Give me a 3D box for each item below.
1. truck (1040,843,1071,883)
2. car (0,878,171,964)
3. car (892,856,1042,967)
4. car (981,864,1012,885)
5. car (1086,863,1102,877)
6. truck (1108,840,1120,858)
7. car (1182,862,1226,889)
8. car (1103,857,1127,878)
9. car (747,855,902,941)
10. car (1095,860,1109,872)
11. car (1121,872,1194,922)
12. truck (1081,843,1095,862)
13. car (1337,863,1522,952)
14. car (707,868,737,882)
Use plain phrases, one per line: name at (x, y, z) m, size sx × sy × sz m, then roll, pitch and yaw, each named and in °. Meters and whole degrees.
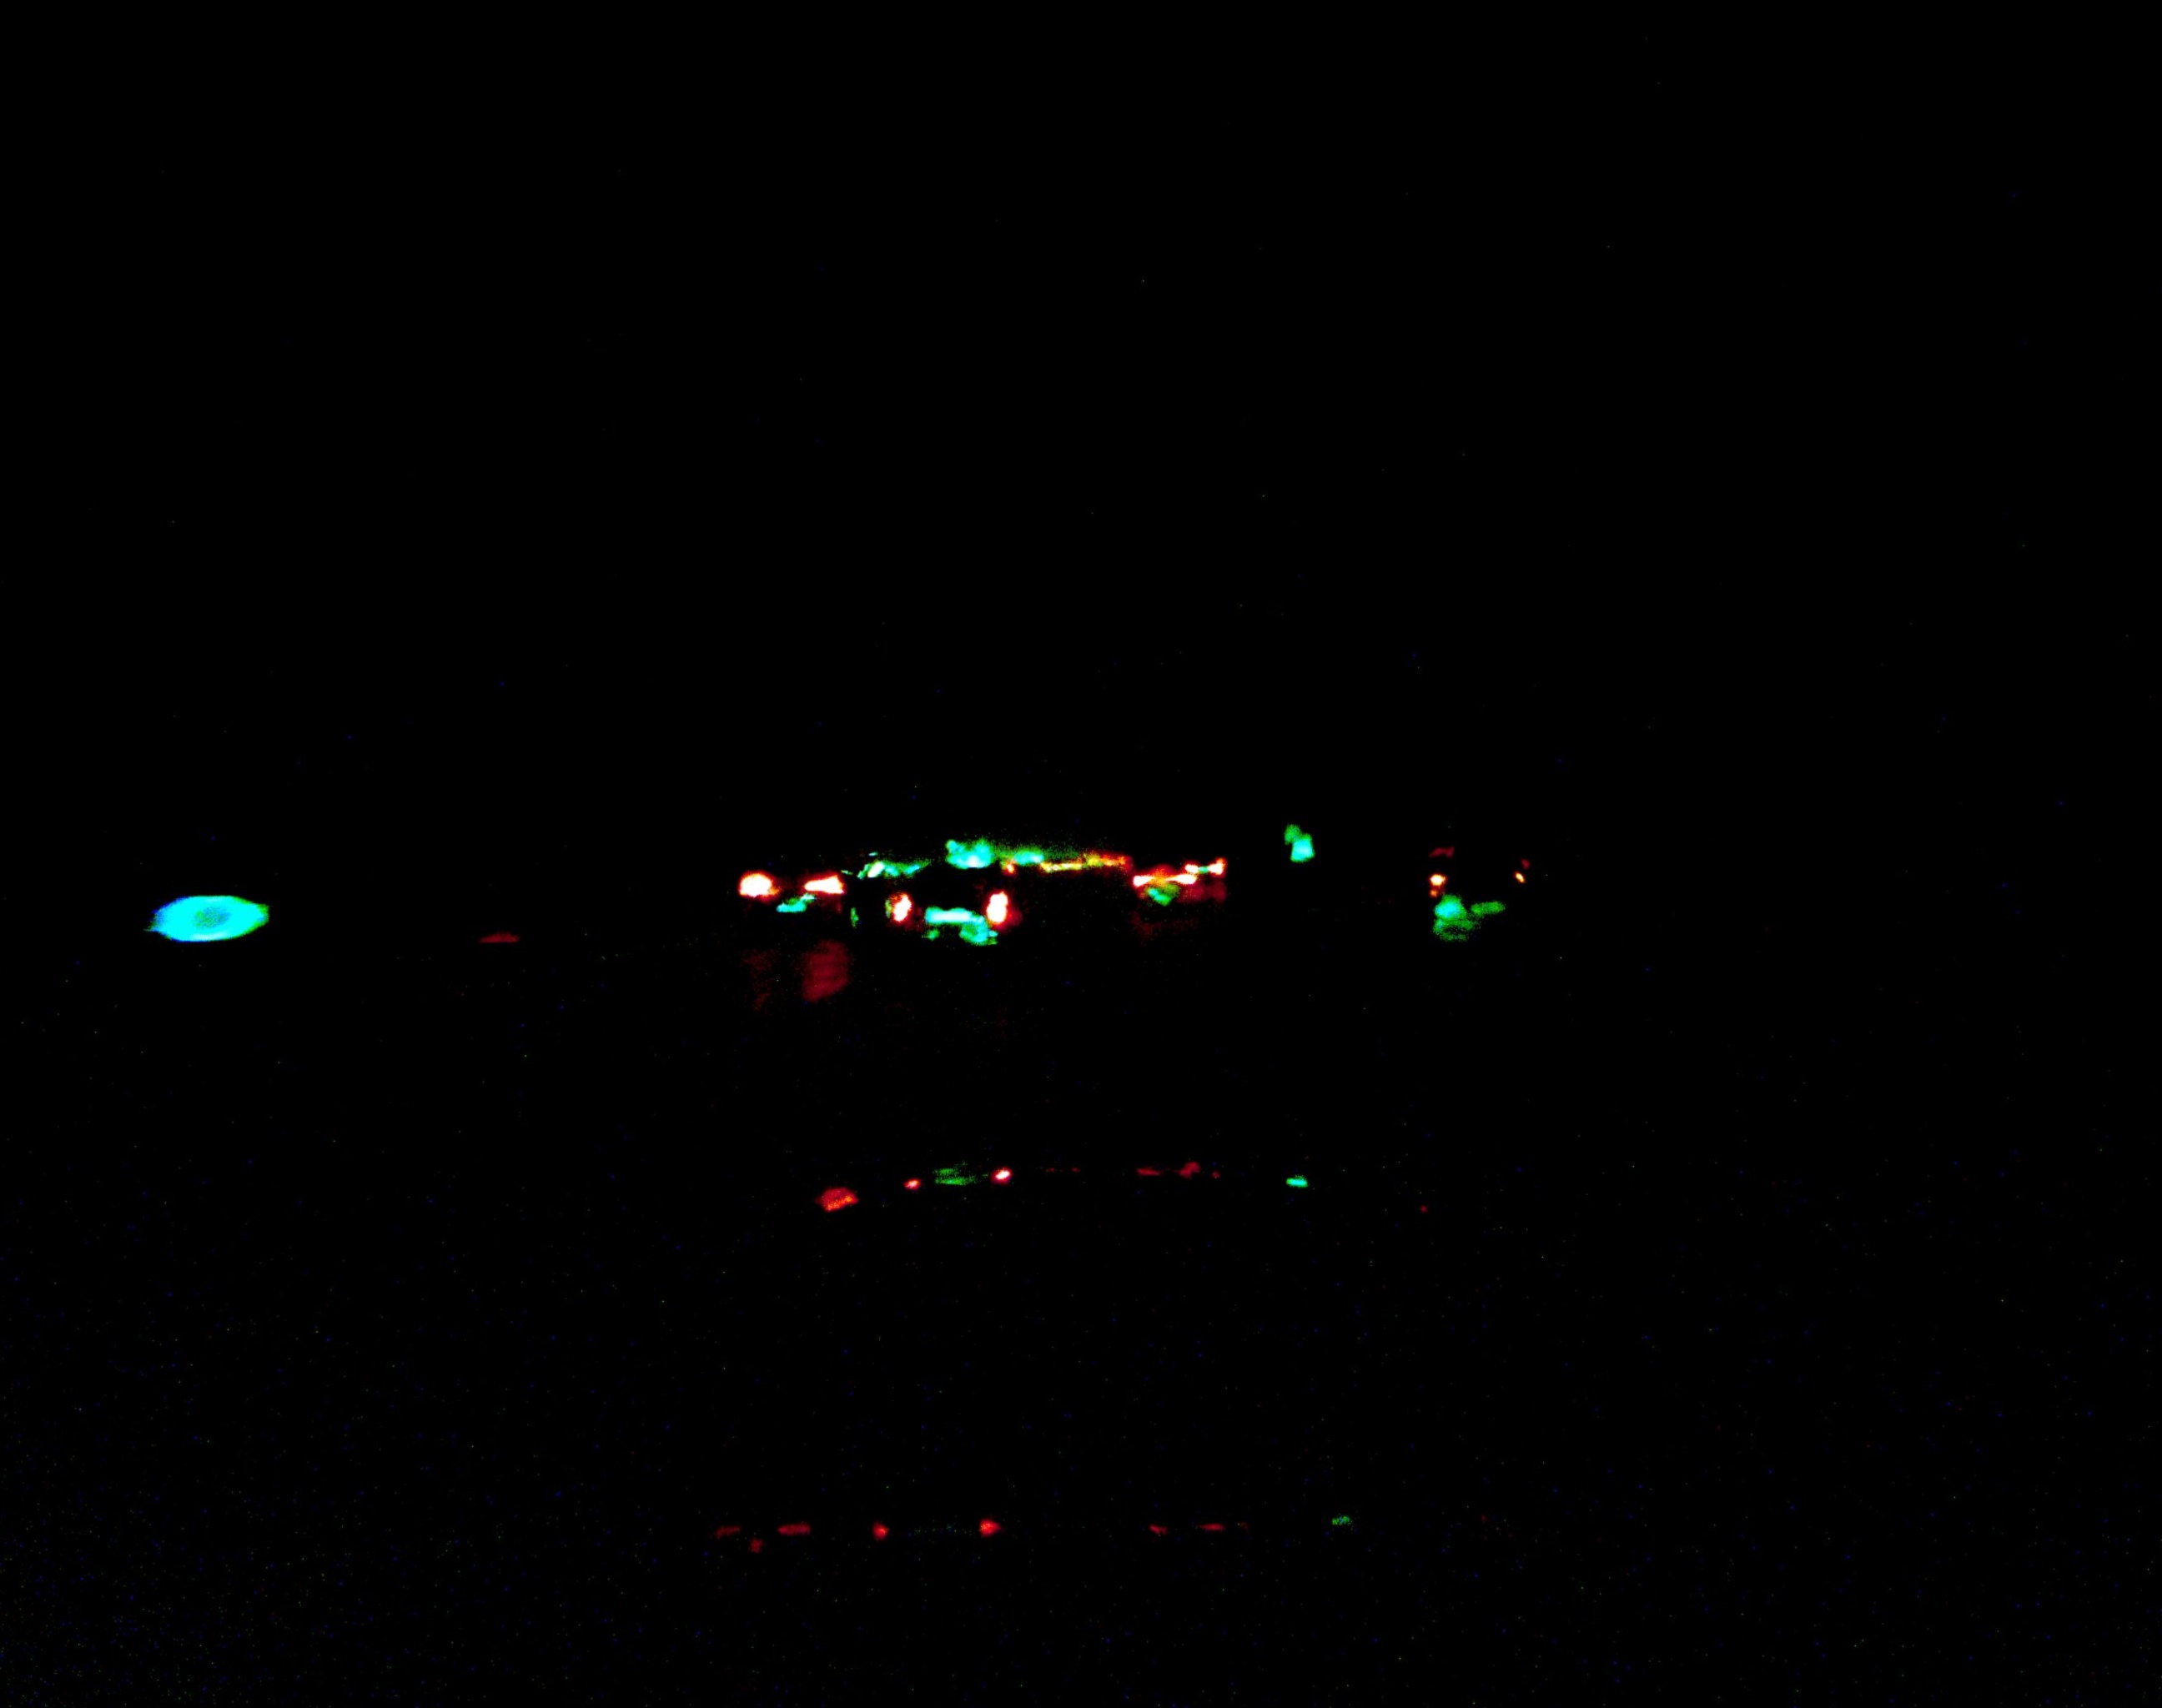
truck at (-2.041, 0.727, 67.853) m, size 1.986 × 3.042 × 6.467 m, roll -4°, pitch -1°, yaw 2°
car at (-22.570, 1.454, 17.281) m, size 1.987 × 1.647 × 3.952 m, roll -4°, pitch -1°, yaw 0°
car at (-1.649, 0.787, 13.075) m, size 1.796 × 1.487 × 4.000 m, roll -1°, pitch 0°, yaw 0°
car at (-5.634, 1.325, 54.718) m, size 1.658 × 1.236 × 3.759 m, roll -4°, pitch -1°, yaw -1°
car at (1.561, 1.863, 96.356) m, size 1.856 × 1.618 × 4.002 m, roll -1°, pitch 0°, yaw 2°
truck at (6.004, -0.795, 147.981) m, size 1.986 × 3.042 × 6.467 m, roll -4°, pitch -1°, yaw 2°
car at (6.114, 1.048, 40.787) m, size 1.577 × 1.246 × 3.065 m, roll -1°, pitch 0°, yaw -4°
car at (2.750, 1.090, 66.219) m, size 1.856 × 1.618 × 4.002 m, roll -1°, pitch 0°, yaw 2°
car at (-5.444, 0.850, 17.988) m, size 1.852 × 1.540 × 4.751 m, roll -1°, pitch 1°, yaw 0°
car at (2.892, 1.589, 110.272) m, size 1.856 × 1.618 × 4.002 m, roll -1°, pitch 0°, yaw 2°
car at (2.105, 1.176, 23.100) m, size 1.577 × 1.246 × 3.065 m, roll -1°, pitch 0°, yaw -4°
truck at (1.175, -0.205, 136.128) m, size 1.986 × 3.042 × 6.467 m, roll -4°, pitch -1°, yaw 2°
car at (5.549, 0.793, 13.363) m, size 1.577 × 1.246 × 3.065 m, roll -1°, pitch 0°, yaw -4°
car at (-35.962, 2.077, 81.692) m, size 1.527 × 1.307 × 3.233 m, roll -4°, pitch -1°, yaw 0°
